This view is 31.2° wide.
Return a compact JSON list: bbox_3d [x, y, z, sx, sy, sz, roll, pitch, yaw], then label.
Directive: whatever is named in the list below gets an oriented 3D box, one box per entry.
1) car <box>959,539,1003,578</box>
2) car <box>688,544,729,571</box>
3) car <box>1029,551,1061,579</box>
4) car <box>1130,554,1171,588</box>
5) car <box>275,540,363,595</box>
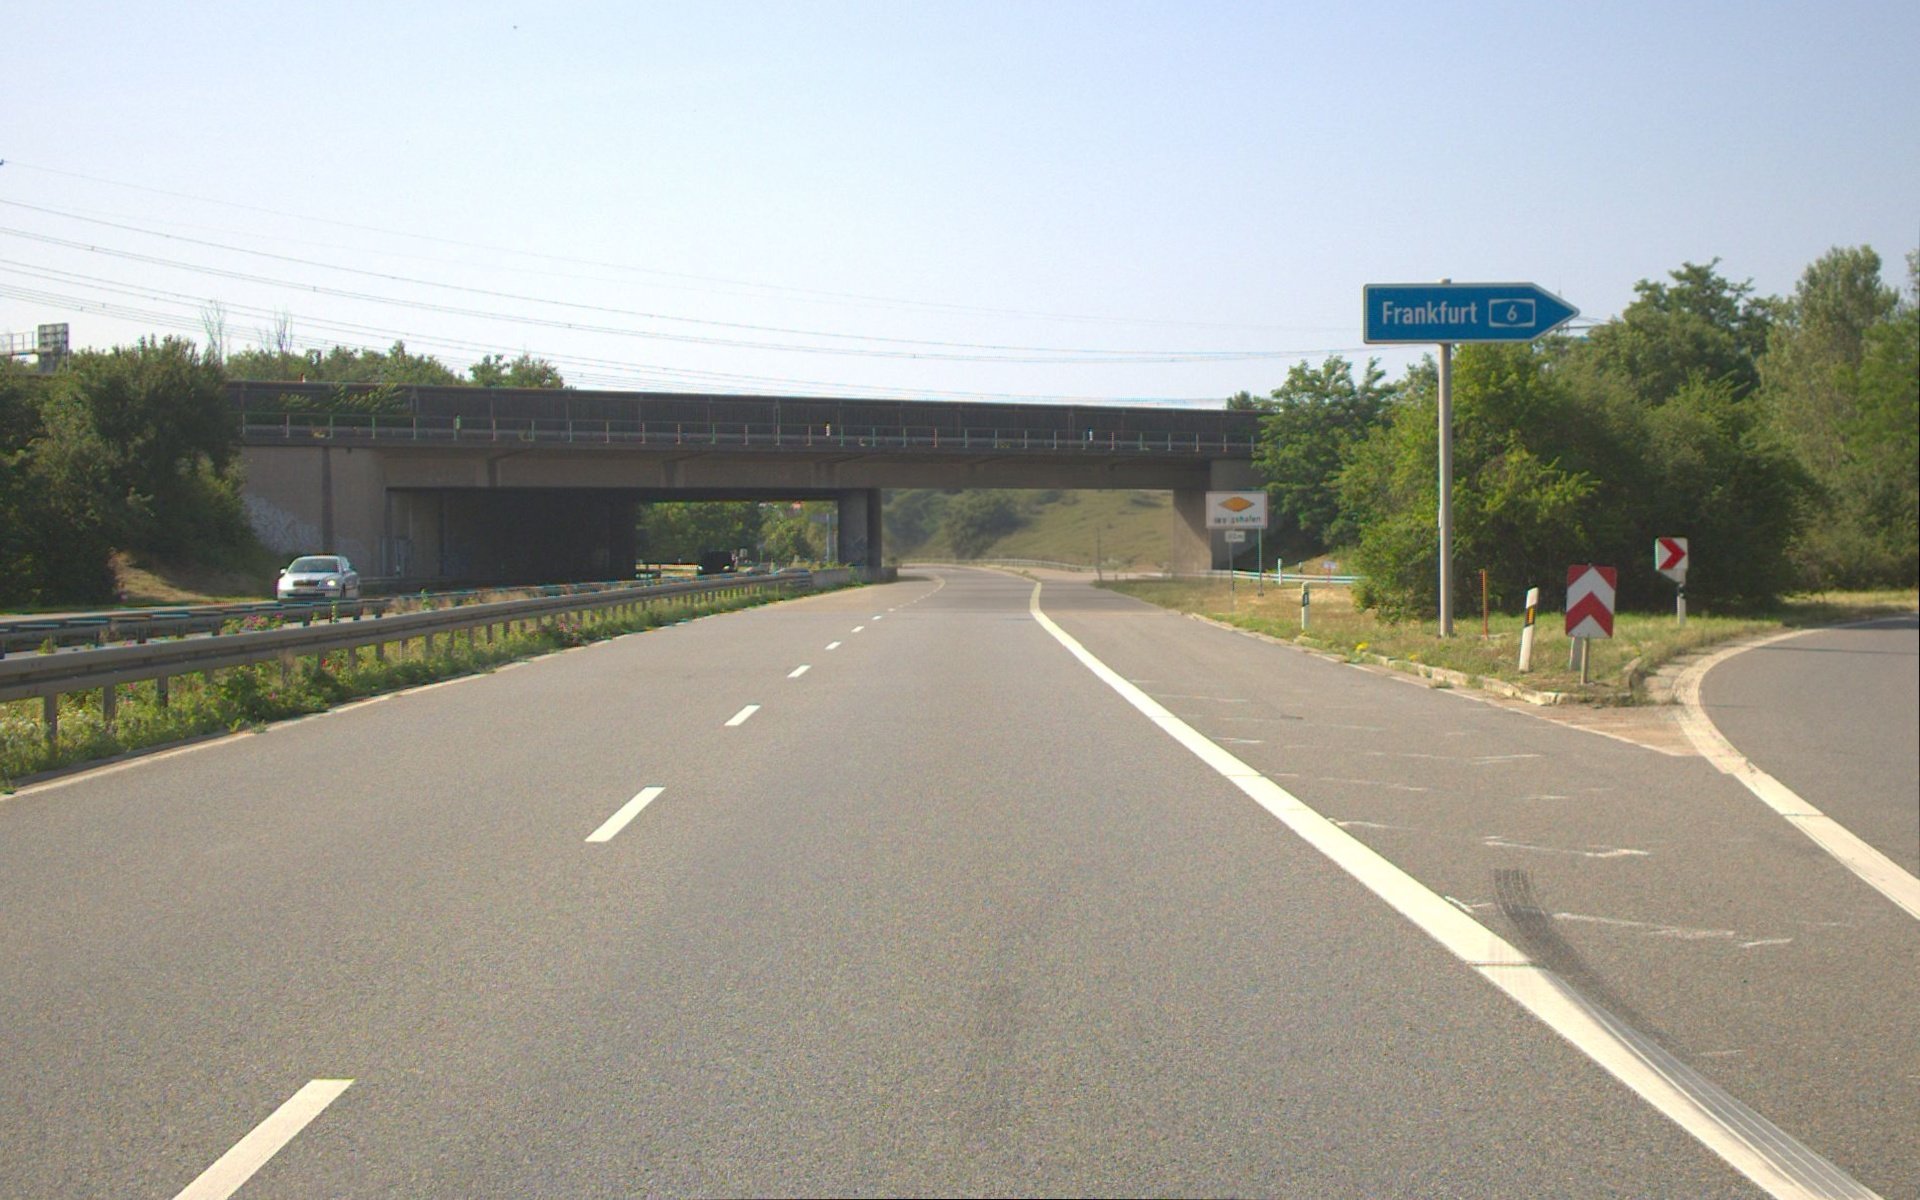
[{"bbox_3d":[0.915,-1.808,149.033,1.850,1.639,4.000,1,1,1],"label":"car"},{"bbox_3d":[-13.516,-2.300,184.889,1.962,1.405,3.636,-1,1,0],"label":"car"},{"bbox_3d":[5.032,-2.061,203.399,1.850,1.639,4.000,1,1,1],"label":"car"},{"bbox_3d":[9.555,-1.471,172.749,1.850,1.639,4.000,1,1,1],"label":"car"},{"bbox_3d":[-17.425,-0.894,93.610,1.674,1.405,3.763,1,1,0],"label":"car"}]
